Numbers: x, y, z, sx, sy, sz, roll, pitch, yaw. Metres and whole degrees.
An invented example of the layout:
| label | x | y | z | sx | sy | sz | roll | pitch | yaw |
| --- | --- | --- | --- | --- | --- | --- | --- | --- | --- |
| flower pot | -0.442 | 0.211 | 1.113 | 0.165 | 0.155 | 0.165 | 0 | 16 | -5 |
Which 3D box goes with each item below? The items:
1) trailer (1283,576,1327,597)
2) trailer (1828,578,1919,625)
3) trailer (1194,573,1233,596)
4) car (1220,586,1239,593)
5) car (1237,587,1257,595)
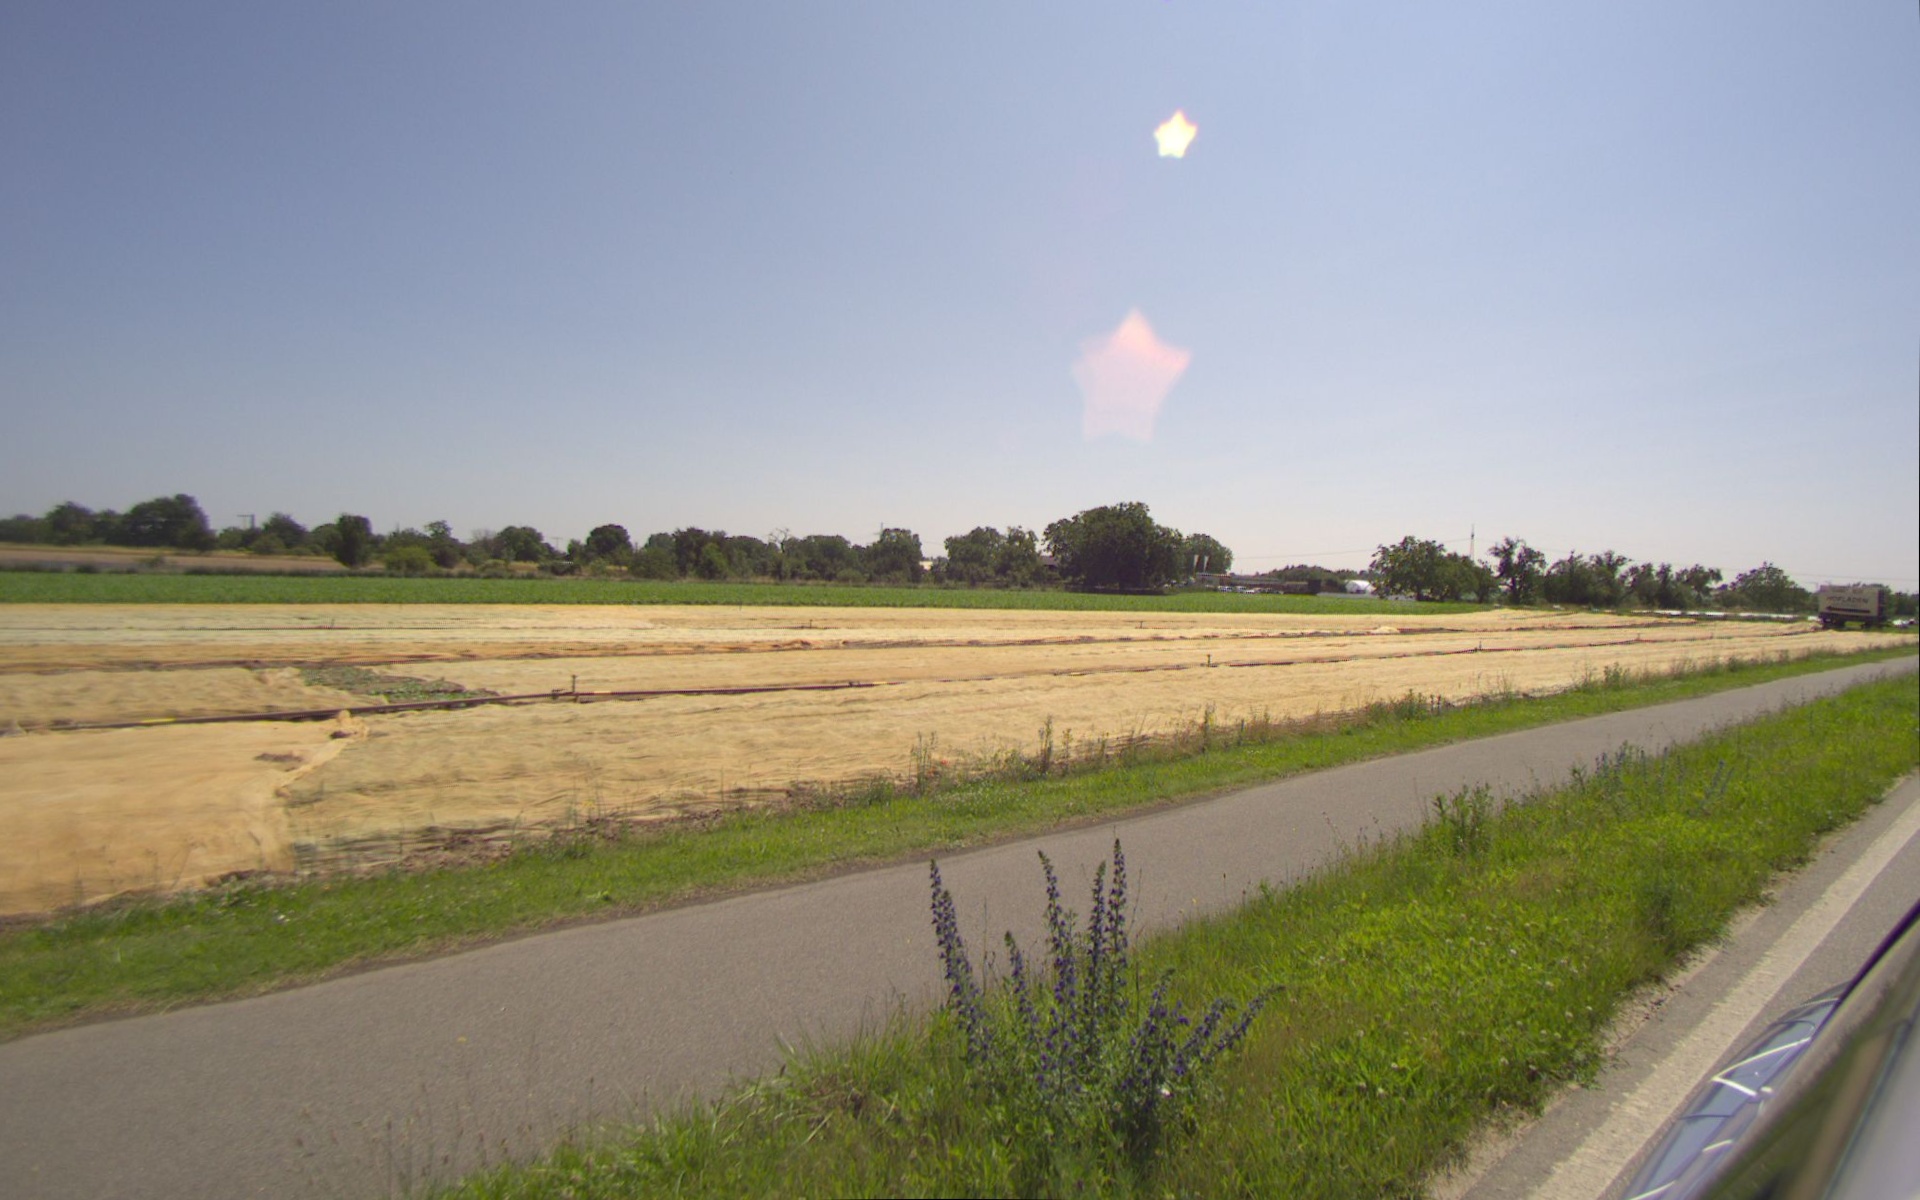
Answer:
| label | x | y | z | sx | sy | sz | roll | pitch | yaw |
| --- | --- | --- | --- | --- | --- | --- | --- | --- | --- |
| trailer | 56.673 | -2.242 | 166.430 | 3.191 | 3.334 | 7.458 | 1 | 1 | -15 |
| trailer | 64.221 | 0.019 | 70.525 | 1.958 | 2.988 | 5.309 | 0 | 3 | -20 |
| trailer | 48.471 | -3.063 | 193.717 | 3.093 | 4.274 | 7.452 | 0 | 1 | -28 |
| car | 46.821 | -1.825 | 175.854 | 3.211 | 1.213 | 1.299 | 1 | 1 | -25 |
| car | 48.200 | -1.561 | 169.985 | 3.211 | 1.213 | 1.299 | 1 | 1 | -25 |
